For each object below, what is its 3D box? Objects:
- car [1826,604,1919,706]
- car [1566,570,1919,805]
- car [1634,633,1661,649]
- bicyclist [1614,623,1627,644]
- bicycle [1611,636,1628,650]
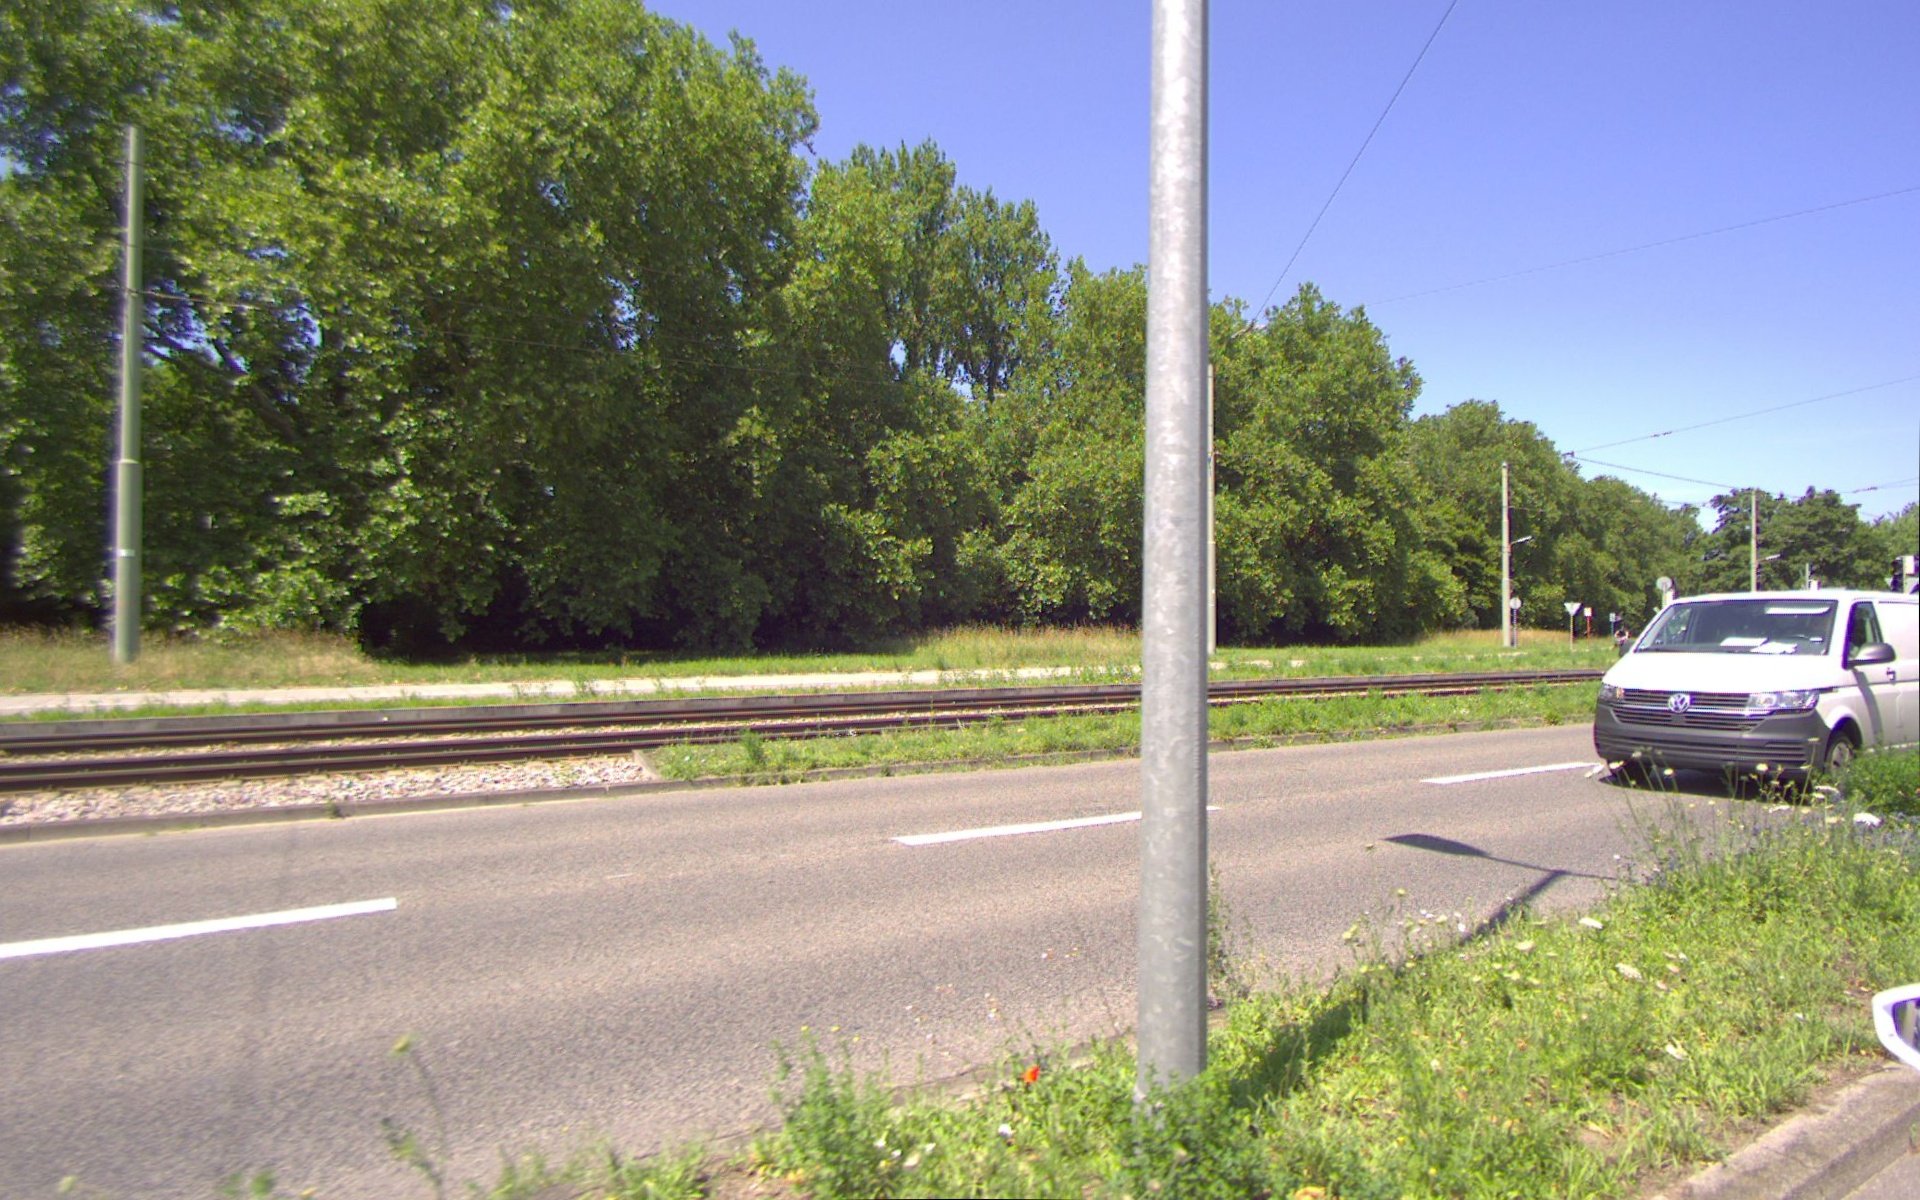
[{"bbox_3d":[21.059,1.152,21.828,4.974,2.040,1.983,1,-2,-32],"label":"car"},{"bbox_3d":[8.762,0.805,10.461,5.502,1.931,1.821,1,-3,-31],"label":"car"},{"bbox_3d":[65.134,3.870,95.080,1.968,1.486,3.985,0,-1,37],"label":"car"},{"bbox_3d":[43.314,2.193,65.887,0.674,1.353,0.504,1,-1,-39],"label":"bicyclist"},{"bbox_3d":[43.355,2.801,66.014,1.552,0.913,0.504,2,-1,-39],"label":"bicycle"}]
